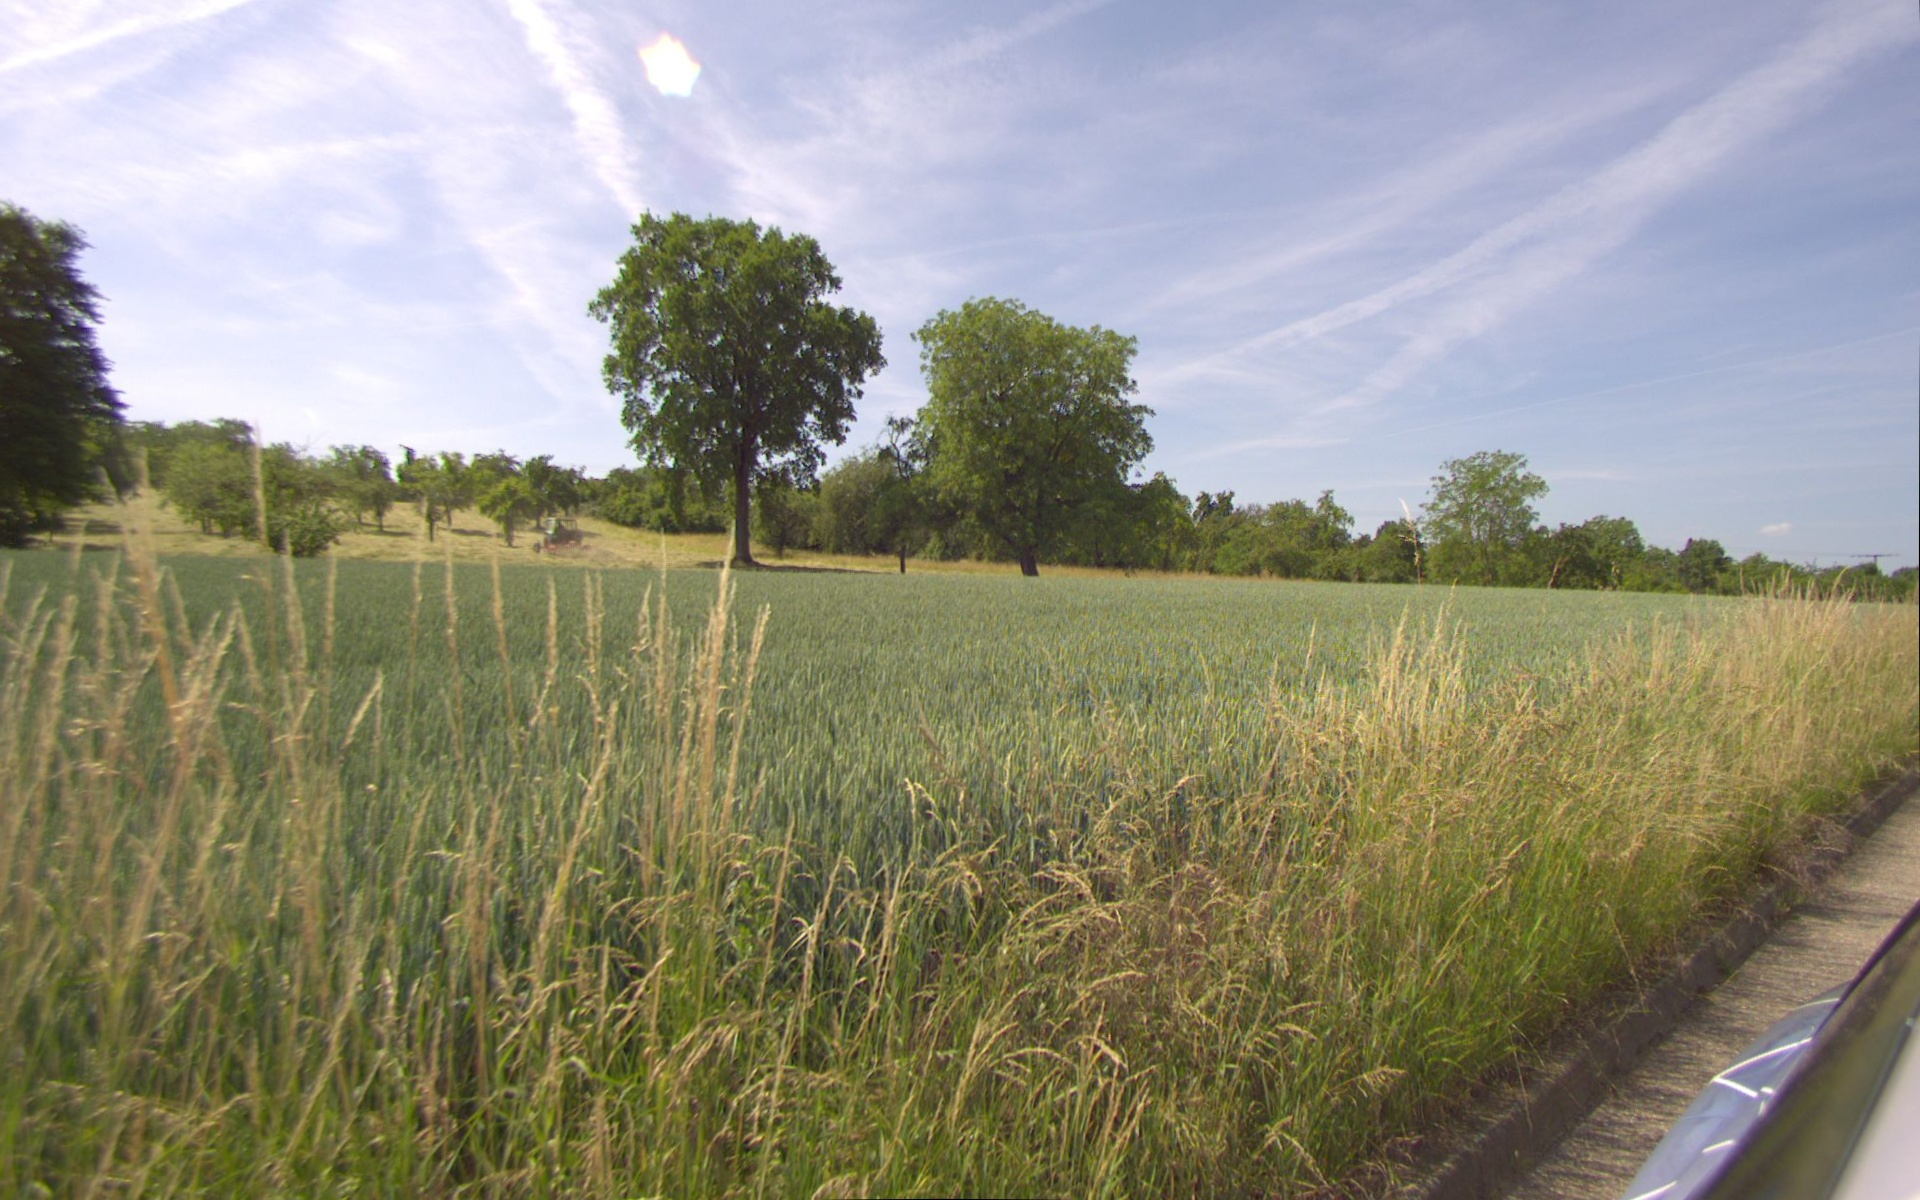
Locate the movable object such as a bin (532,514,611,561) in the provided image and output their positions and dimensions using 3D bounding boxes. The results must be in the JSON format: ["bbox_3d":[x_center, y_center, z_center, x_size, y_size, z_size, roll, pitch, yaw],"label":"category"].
[{"bbox_3d":[-22.177,-3.607,57.520,2.401,2.398,6.577,0,4,-38],"label":"movable object such as a bin"}]
